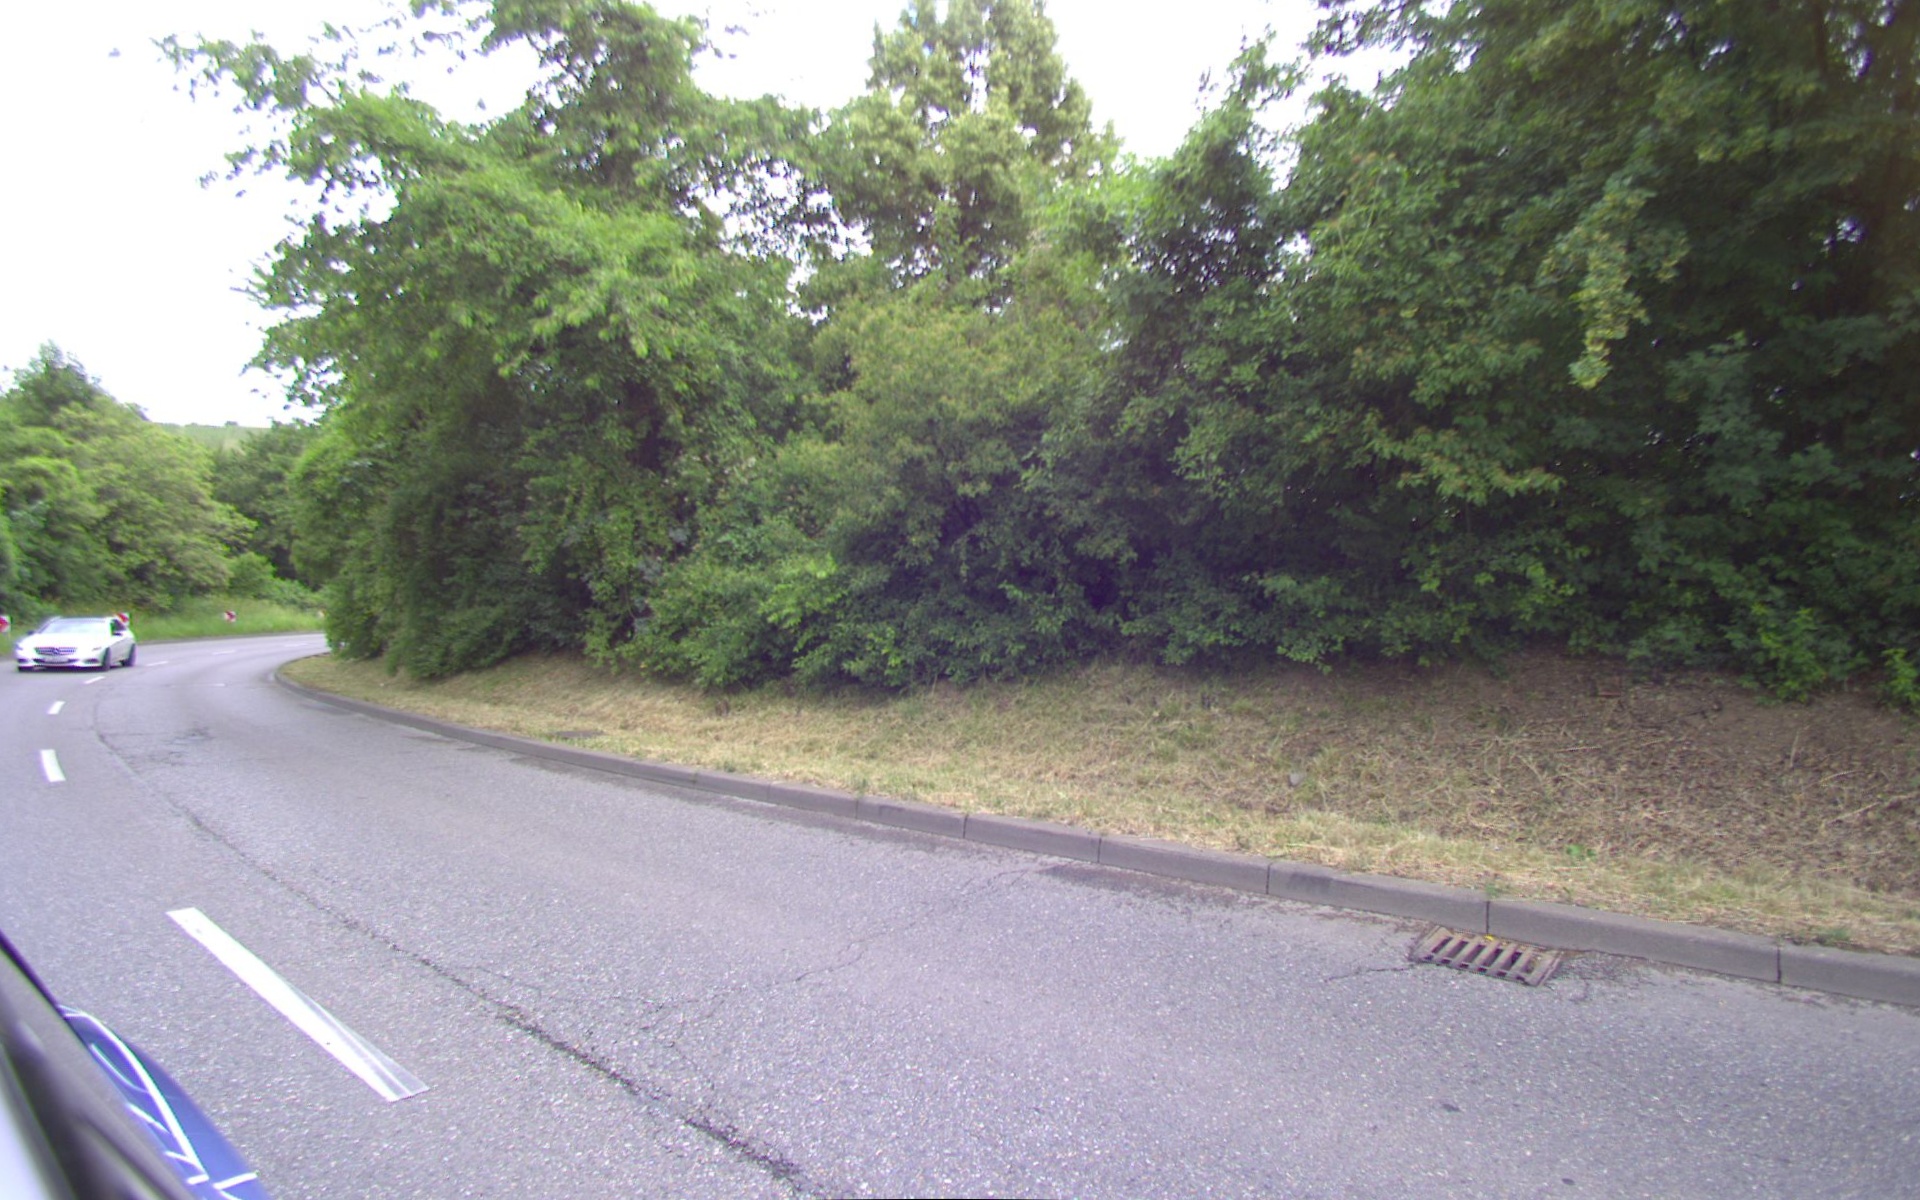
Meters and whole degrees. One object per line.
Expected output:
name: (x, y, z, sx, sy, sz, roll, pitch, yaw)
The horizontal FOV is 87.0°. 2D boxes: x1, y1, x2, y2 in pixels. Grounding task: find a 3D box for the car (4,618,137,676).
car: (-24.431, 1.244, 27.972, 1.836, 1.442, 4.369, 2, -2, -29)
